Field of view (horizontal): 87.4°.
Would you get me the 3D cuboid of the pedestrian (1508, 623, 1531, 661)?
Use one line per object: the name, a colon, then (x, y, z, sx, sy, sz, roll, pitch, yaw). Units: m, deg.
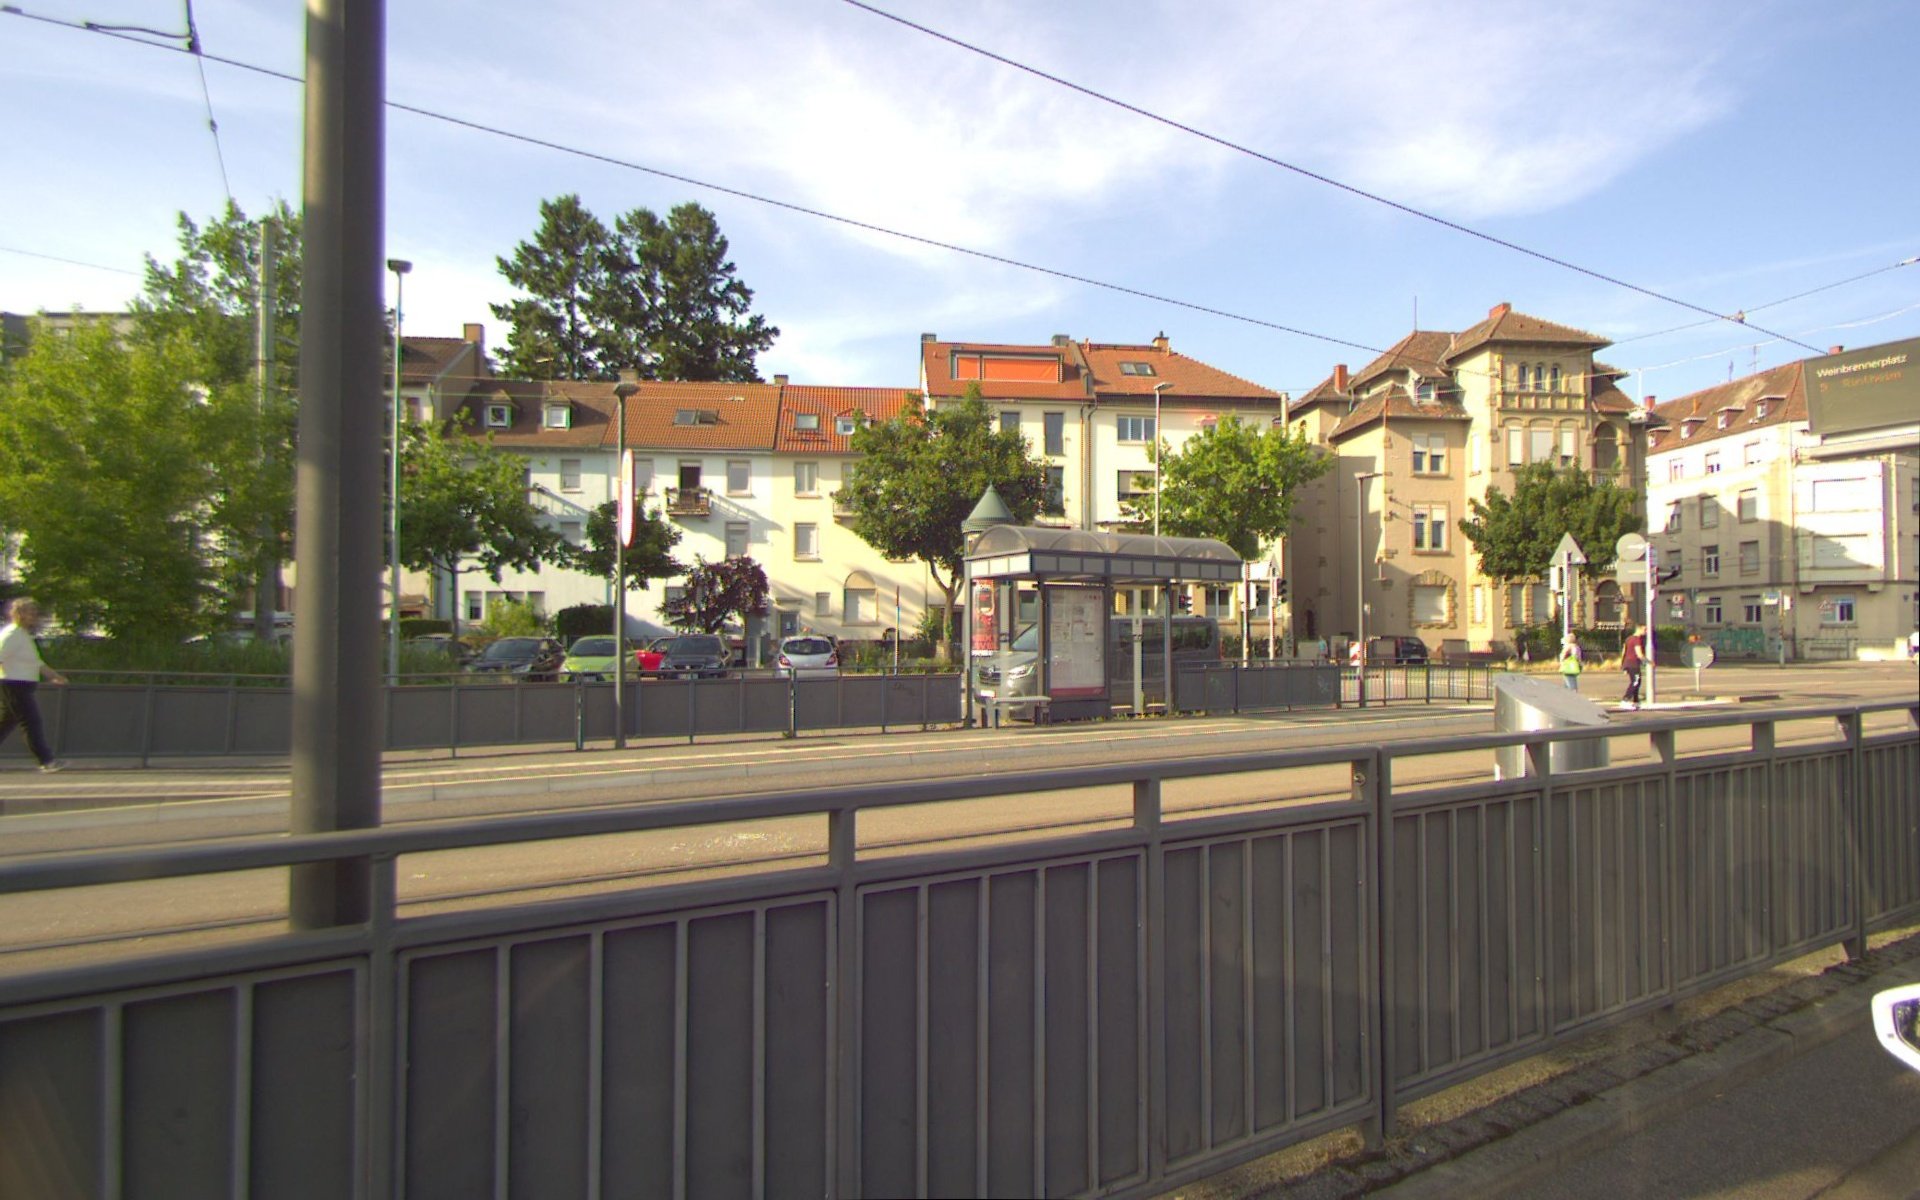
pedestrian: (24.422, 1.835, 43.847, 0.592, 1.673, 0.681, 0, -2, -3)

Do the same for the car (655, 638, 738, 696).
car: (-7.081, 1.767, 27.333, 1.740, 1.447, 3.995, 0, -2, -9)

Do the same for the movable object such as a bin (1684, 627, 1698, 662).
movable object such as a bin: (36.837, 2.241, 50.610, 0.259, 1.732, 2.379, -1, -2, 29)

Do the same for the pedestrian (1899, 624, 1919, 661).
pedestrian: (49.494, 2.221, 52.277, 0.616, 1.905, 0.659, 0, -2, -15)

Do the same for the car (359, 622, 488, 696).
car: (-13.899, 1.496, 26.281, 1.822, 1.777, 3.993, 0, -2, -11)

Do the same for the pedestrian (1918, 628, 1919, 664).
pedestrian: (49.824, 2.360, 51.656, 0.642, 1.872, 0.670, 1, -2, -32)

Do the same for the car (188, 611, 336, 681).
car: (-18.975, 1.241, 27.520, 1.822, 1.777, 3.993, 0, -2, -11)

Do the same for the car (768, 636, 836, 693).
car: (-4.385, 1.737, 27.961, 1.740, 1.447, 3.995, 0, -2, -9)

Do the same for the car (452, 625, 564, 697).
car: (-11.986, 1.582, 26.899, 1.822, 1.777, 3.993, 0, -2, -11)

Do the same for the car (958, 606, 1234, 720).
car: (2.788, 1.201, 20.136, 5.323, 2.040, 2.136, 1, -2, -30)

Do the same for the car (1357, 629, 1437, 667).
car: (20.408, 2.219, 47.098, 1.742, 1.653, 3.998, 0, -2, -5)

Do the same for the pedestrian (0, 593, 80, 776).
pedestrian: (-8.837, 0.776, 9.419, 0.719, 1.649, 0.703, 1, -2, -30)

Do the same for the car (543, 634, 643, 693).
car: (-9.743, 1.644, 26.927, 1.740, 1.447, 3.995, 0, -2, -9)

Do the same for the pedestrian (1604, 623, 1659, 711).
pedestrian: (13.406, 1.323, 20.074, 0.868, 1.692, 0.670, -1, -2, 33)

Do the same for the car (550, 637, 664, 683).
car: (-12.195, 2.069, 34.853, 3.444, 1.544, 1.567, 0, -2, -7)

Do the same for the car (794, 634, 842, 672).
car: (-6.188, 2.314, 44.259, 1.821, 1.578, 3.998, 0, -2, -4)

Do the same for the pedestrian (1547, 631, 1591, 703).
pedestrian: (13.909, 1.518, 22.950, 0.708, 1.610, 0.586, 1, -2, -34)

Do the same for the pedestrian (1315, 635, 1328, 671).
pedestrian: (15.443, 2.244, 42.873, 0.382, 1.535, 0.405, 0, -2, -3)
